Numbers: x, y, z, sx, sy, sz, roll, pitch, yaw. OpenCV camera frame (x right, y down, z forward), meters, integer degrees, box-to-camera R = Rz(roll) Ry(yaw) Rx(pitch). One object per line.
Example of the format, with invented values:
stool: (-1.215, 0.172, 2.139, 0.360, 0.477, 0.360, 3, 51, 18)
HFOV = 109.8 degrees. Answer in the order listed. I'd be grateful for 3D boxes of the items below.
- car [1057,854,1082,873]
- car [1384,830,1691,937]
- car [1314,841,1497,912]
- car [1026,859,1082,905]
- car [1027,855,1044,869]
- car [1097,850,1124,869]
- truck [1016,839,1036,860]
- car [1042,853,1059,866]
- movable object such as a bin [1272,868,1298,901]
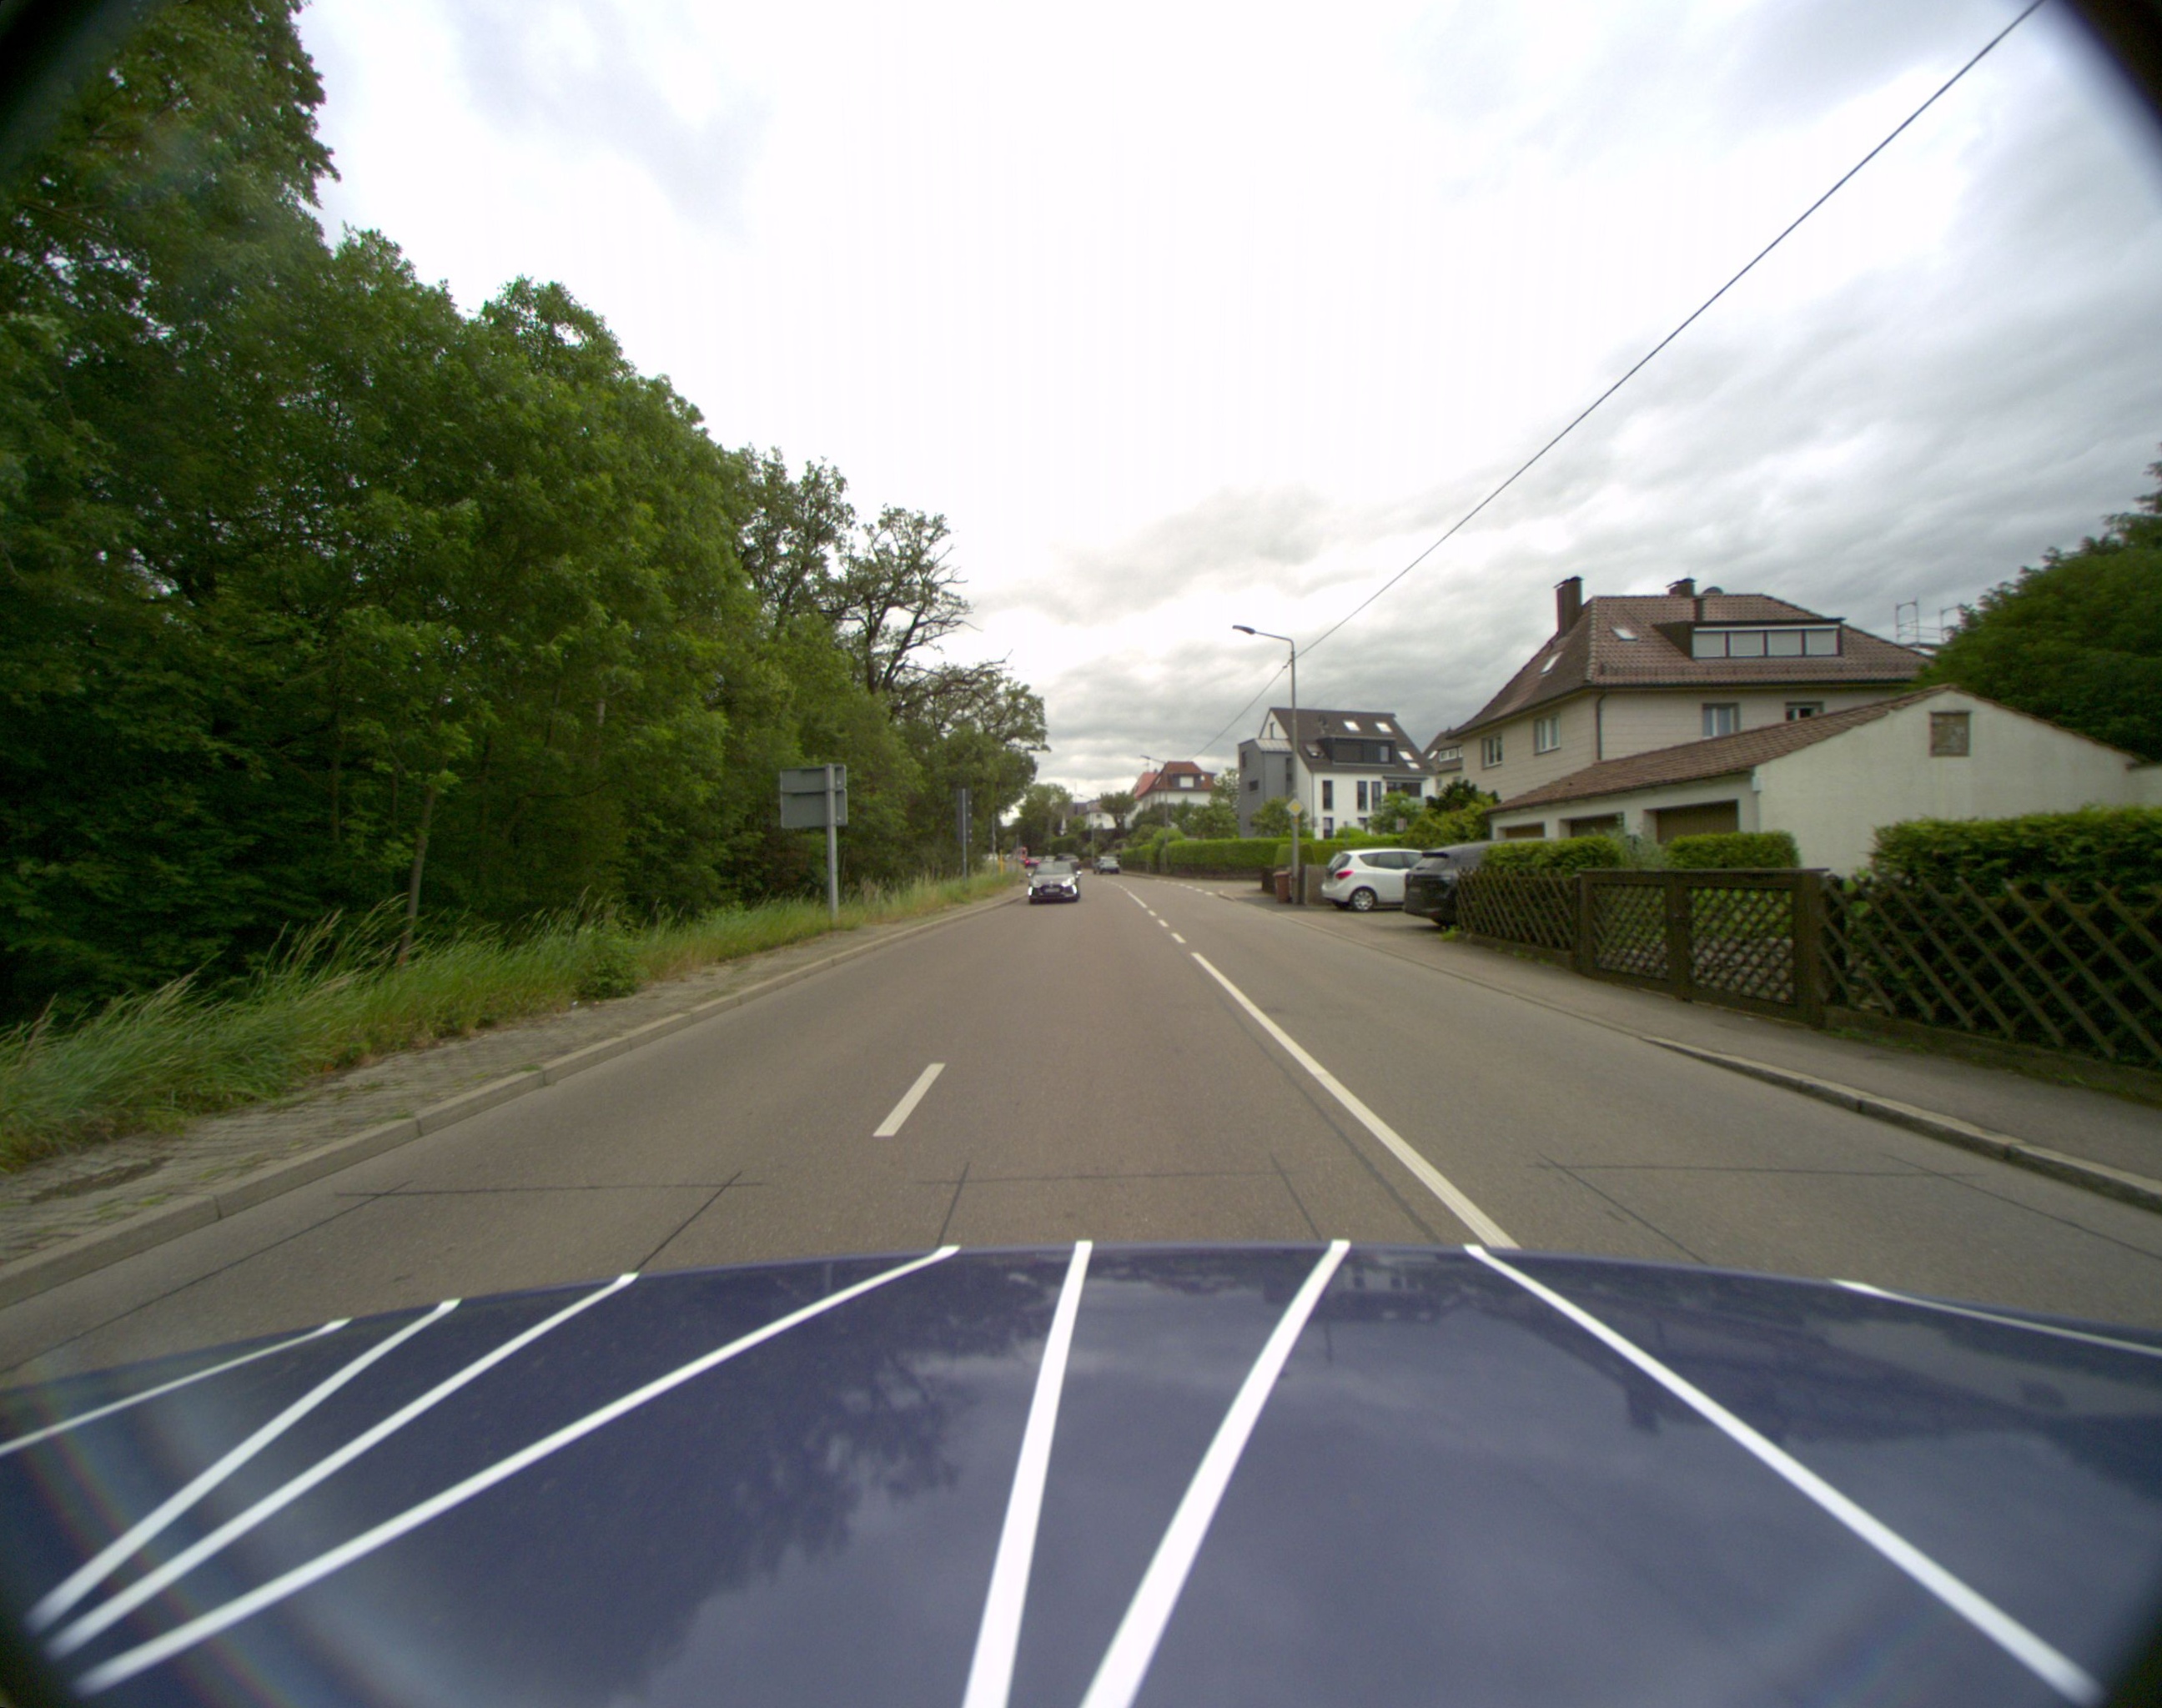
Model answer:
car: (-1.067, 0.867, 69.558, 1.819, 1.590, 3.953, -2, 1, -8)
car: (8.553, 0.524, 14.538, 4.682, 1.660, 1.882, -3, 1, 0)
car: (8.398, 0.566, 19.899, 3.997, 1.584, 1.718, -3, 1, 1)
car: (-0.896, 0.949, 27.645, 1.730, 1.449, 3.855, -2, 0, 2)
car: (-5.929, 1.012, 98.054, 2.000, 1.749, 3.997, -1, 0, -6)
car: (2.482, 0.468, 65.436, 1.840, 1.514, 3.998, -1, 0, -5)
truck: (-9.981, -0.756, 137.112, 3.008, 3.618, 7.083, -1, 0, -8)
car: (-4.139, 0.718, 102.852, 1.833, 1.665, 3.995, -1, 2, -10)
movable object such as a bin: (6.195, 0.921, 23.066, 0.689, 0.948, 0.572, -1, 1, 8)
